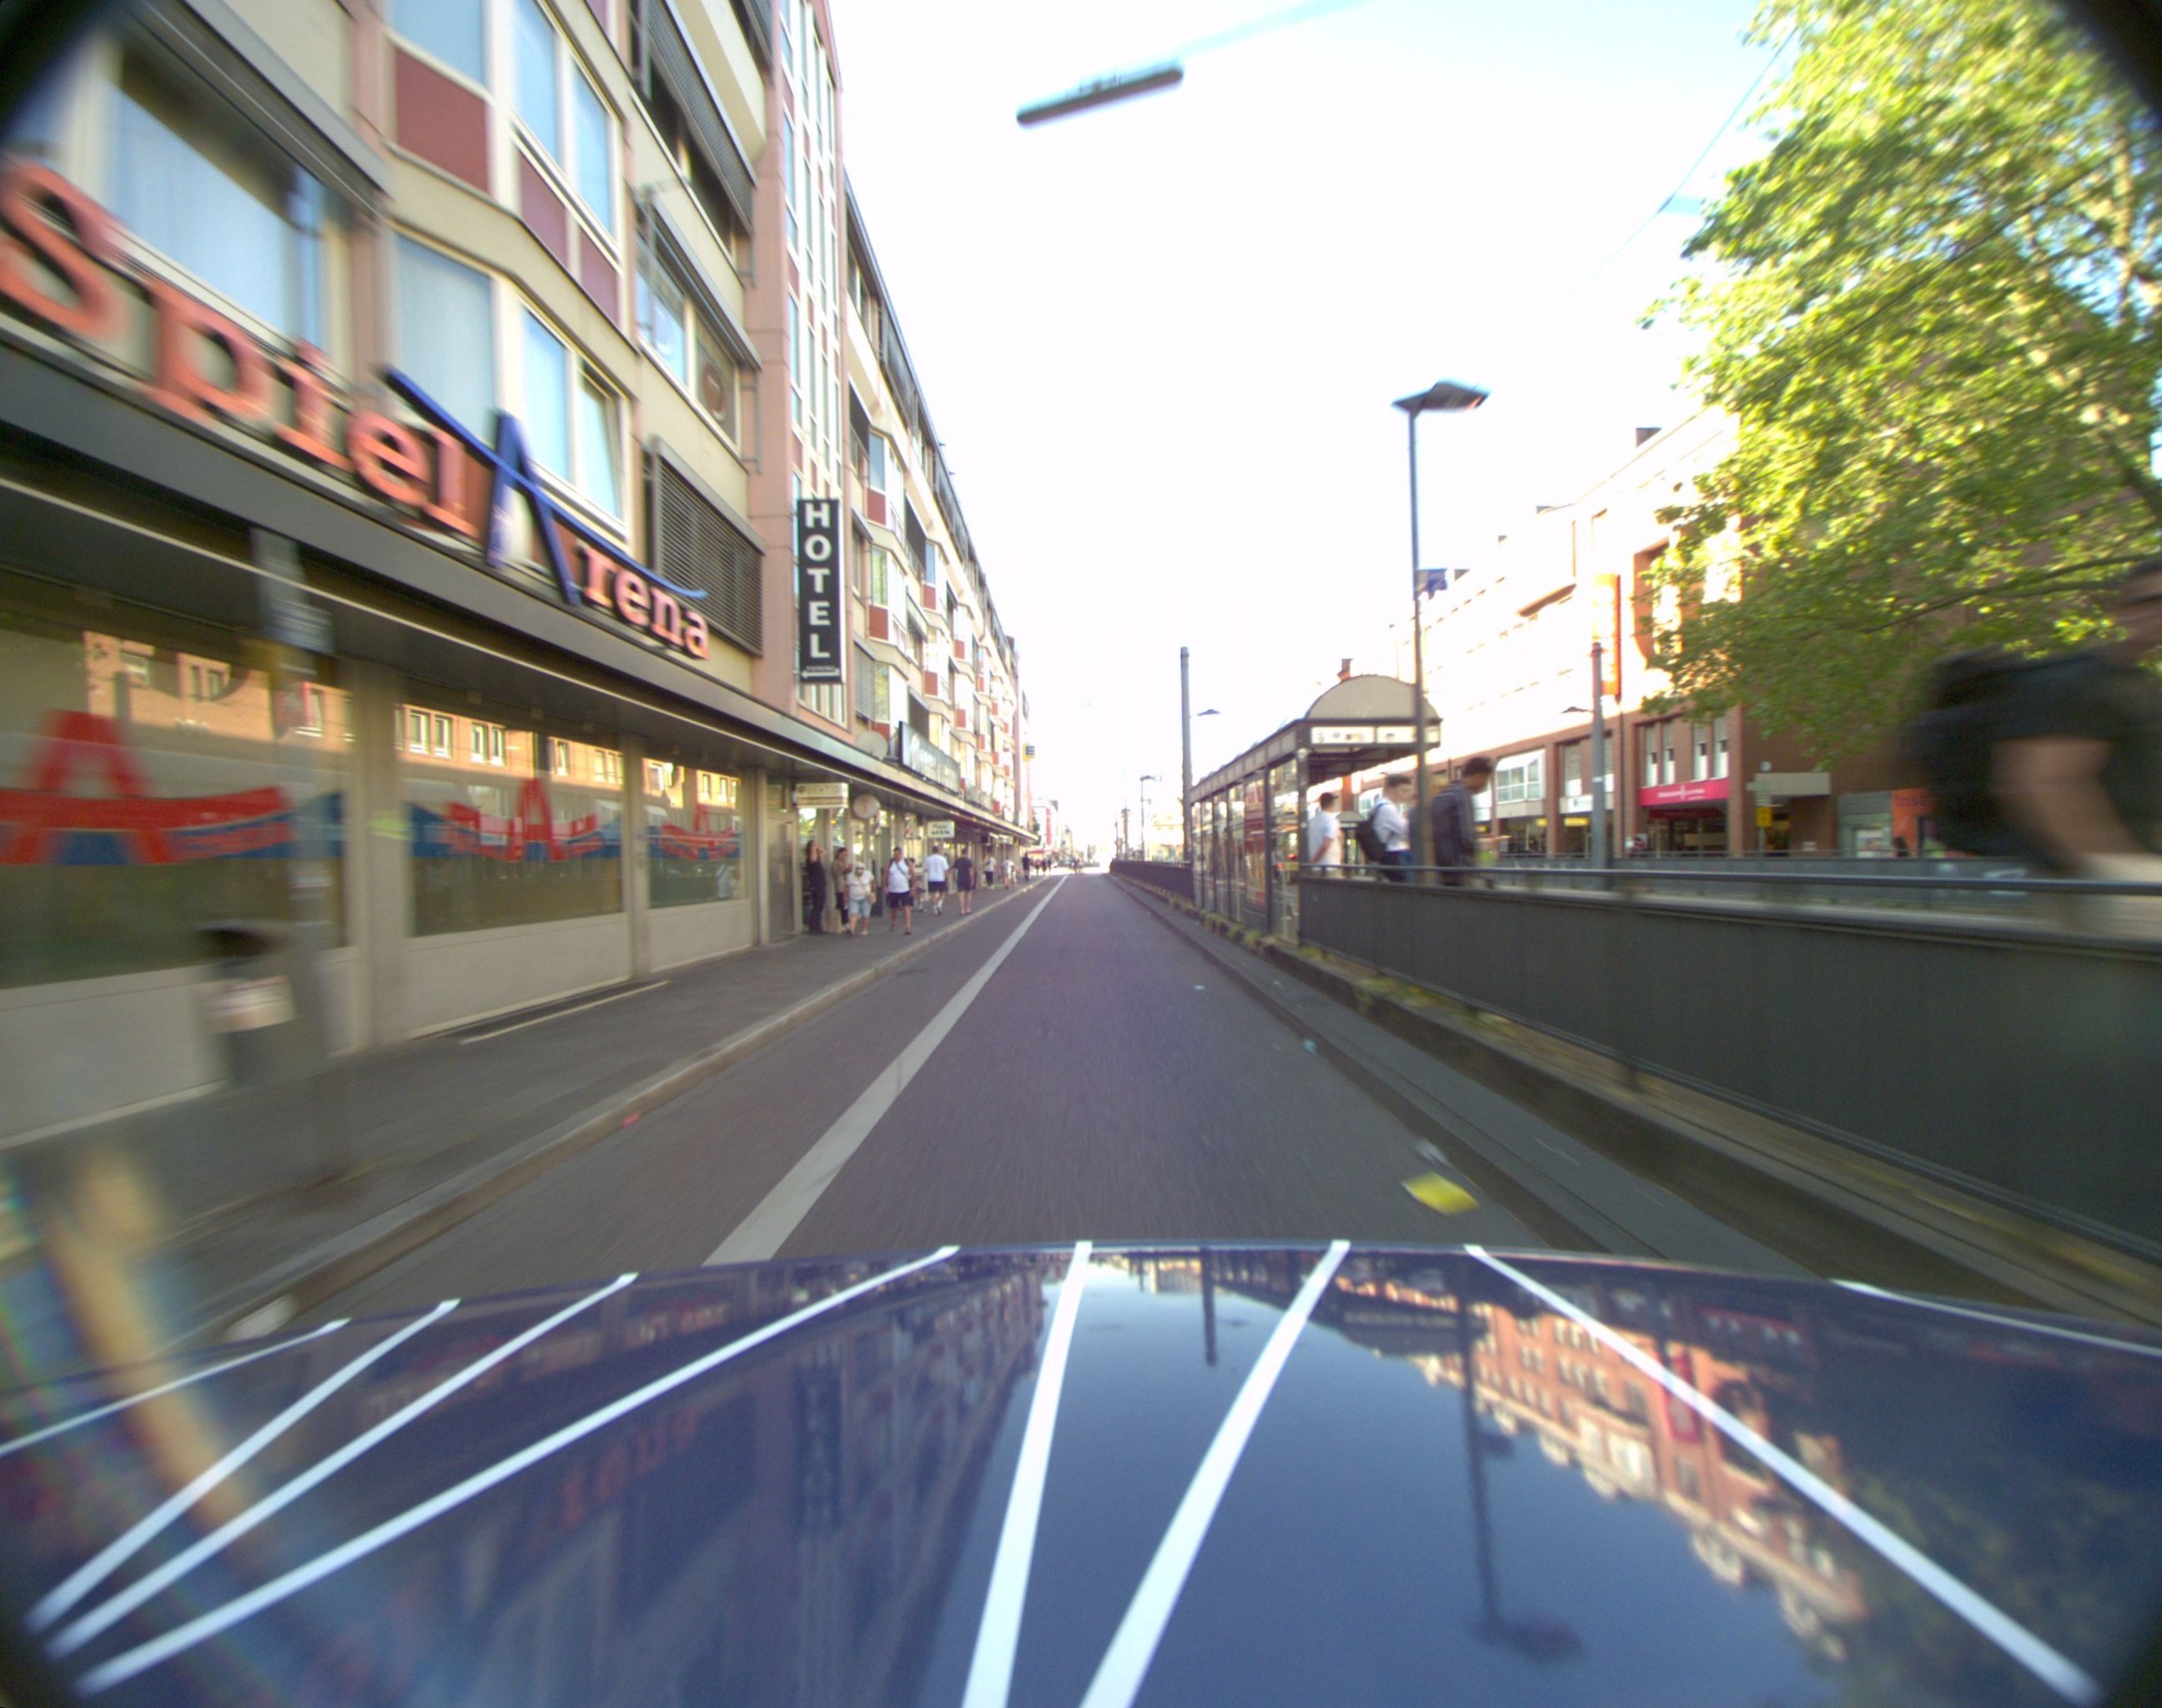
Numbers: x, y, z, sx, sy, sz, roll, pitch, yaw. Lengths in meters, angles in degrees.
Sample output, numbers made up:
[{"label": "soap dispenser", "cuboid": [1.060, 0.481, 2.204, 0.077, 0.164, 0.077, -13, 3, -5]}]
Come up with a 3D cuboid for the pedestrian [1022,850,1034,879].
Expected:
[{"label": "pedestrian", "cuboid": [-3.466, 0.695, 49.978, 0.676, 1.850, 0.992, 0, 0, 2]}]

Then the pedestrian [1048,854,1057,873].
[{"label": "pedestrian", "cuboid": [-2.792, 0.953, 74.638, 0.680, 1.832, 0.606, -3, 1, -12]}]

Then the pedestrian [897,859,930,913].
[{"label": "pedestrian", "cuboid": [-4.731, 0.894, 21.519, 0.740, 1.463, 0.707, 1, 1, 1]}]

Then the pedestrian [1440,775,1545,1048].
[{"label": "pedestrian", "cuboid": [2.635, 0.352, 4.898, 0.352, 1.659, 0.529, -1, 0, -1]}]

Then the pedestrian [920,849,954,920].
[{"label": "pedestrian", "cuboid": [-3.788, 0.787, 20.062, 0.708, 1.809, 0.763, 1, 0, 0]}]

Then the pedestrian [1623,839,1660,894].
[{"label": "pedestrian", "cuboid": [20.096, 0.446, 27.251, 0.791, 1.905, 0.665, -1, 1, -1]}]

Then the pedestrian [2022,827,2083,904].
[{"label": "pedestrian", "cuboid": [24.209, 0.288, 18.944, 0.708, 1.871, 0.626, -1, 1, 4]}]

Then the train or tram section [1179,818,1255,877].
[{"label": "train or tram section", "cuboid": [9.564, -0.408, 55.382, 2.981, 3.623, 13.943, -3, 0, 0]}]

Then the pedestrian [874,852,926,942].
[{"label": "pedestrian", "cuboid": [-3.602, 0.829, 15.187, 0.746, 1.717, 0.814, -3, 1, 1]}]

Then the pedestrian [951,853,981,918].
[{"label": "pedestrian", "cuboid": [-3.090, 0.828, 20.487, 0.669, 1.718, 0.810, 1, 1, -1]}]

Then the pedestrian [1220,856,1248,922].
[{"label": "pedestrian", "cuboid": [2.734, 0.622, 13.575, 0.366, 1.146, 0.460, -3, 1, -1]}]

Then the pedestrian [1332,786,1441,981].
[{"label": "pedestrian", "cuboid": [2.882, 0.268, 7.224, 0.691, 1.741, 0.748, -1, 0, -1]}]

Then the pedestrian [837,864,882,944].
[{"label": "pedestrian", "cuboid": [-4.199, 0.933, 14.437, 0.637, 1.474, 0.654, 1, 1, -1]}]

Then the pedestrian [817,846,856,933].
[{"label": "pedestrian", "cuboid": [-5.017, 0.727, 15.625, 0.631, 1.759, 0.501, 0, 0, 1]}]

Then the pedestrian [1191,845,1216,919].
[{"label": "pedestrian", "cuboid": [2.669, 0.604, 16.600, 0.425, 1.564, 0.448, -2, 0, 0]}]

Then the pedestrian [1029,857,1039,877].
[{"label": "pedestrian", "cuboid": [-3.576, 0.998, 57.739, 0.667, 1.512, 0.789, 1, 0, -3]}]

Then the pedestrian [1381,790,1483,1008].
[{"label": "pedestrian", "cuboid": [2.771, 0.340, 6.041, 0.495, 1.639, 0.590, -1, 0, -1]}]

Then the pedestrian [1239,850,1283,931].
[{"label": "pedestrian", "cuboid": [2.871, 0.575, 12.172, 0.541, 1.245, 0.460, -3, 1, -1]}]

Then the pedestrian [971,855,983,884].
[{"label": "pedestrian", "cuboid": [-5.797, 0.865, 42.530, 0.517, 1.623, 0.522, -1, 0, 5]}]

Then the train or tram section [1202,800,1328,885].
[{"label": "train or tram section", "cuboid": [9.512, -0.417, 42.104, 2.981, 3.623, 16.486, -3, -1, 0]}]

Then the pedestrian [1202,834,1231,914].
[{"label": "pedestrian", "cuboid": [2.735, 0.393, 15.341, 0.425, 1.564, 0.592, -2, 0, 0]}]

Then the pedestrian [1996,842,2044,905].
[{"label": "pedestrian", "cuboid": [23.466, 0.483, 18.996, 0.584, 1.521, 0.474, -2, 0, 1]}]

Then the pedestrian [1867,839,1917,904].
[{"label": "pedestrian", "cuboid": [22.885, 0.491, 21.439, 0.689, 1.795, 0.648, -2, 1, -2]}]

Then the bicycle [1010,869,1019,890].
[{"label": "bicycle", "cuboid": [-3.228, 1.239, 36.962, 0.303, 0.984, 1.760, 0, 0, -1]}]

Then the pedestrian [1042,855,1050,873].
[{"label": "pedestrian", "cuboid": [-3.256, 0.922, 70.790, 0.709, 1.604, 0.495, 0, 2, -1]}]

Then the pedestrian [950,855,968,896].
[{"label": "pedestrian", "cuboid": [-4.800, 0.839, 29.876, 0.602, 1.581, 0.553, 0, 0, 0]}]

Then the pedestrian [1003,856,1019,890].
[{"label": "pedestrian", "cuboid": [-3.406, 0.911, 36.962, 0.664, 1.621, 0.705, 1, 0, -1]}]

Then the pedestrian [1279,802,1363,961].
[{"label": "pedestrian", "cuboid": [2.768, 0.304, 8.816, 0.691, 1.755, 0.748, -1, 0, -1]}]

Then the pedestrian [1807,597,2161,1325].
[{"label": "pedestrian", "cuboid": [3.009, 0.254, 2.317, 0.772, 1.820, 0.803, -3, 1, -4]}]

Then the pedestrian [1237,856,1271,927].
[{"label": "pedestrian", "cuboid": [2.877, 0.615, 12.668, 0.409, 1.146, 0.460, -3, 1, -1]}]

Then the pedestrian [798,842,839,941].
[{"label": "pedestrian", "cuboid": [-4.974, 0.697, 14.423, 0.452, 1.838, 0.812, 0, 0, 2]}]

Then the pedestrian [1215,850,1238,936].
[{"label": "pedestrian", "cuboid": [2.748, 0.723, 14.322, 0.321, 1.563, 0.543, -2, 1, 16]}]
